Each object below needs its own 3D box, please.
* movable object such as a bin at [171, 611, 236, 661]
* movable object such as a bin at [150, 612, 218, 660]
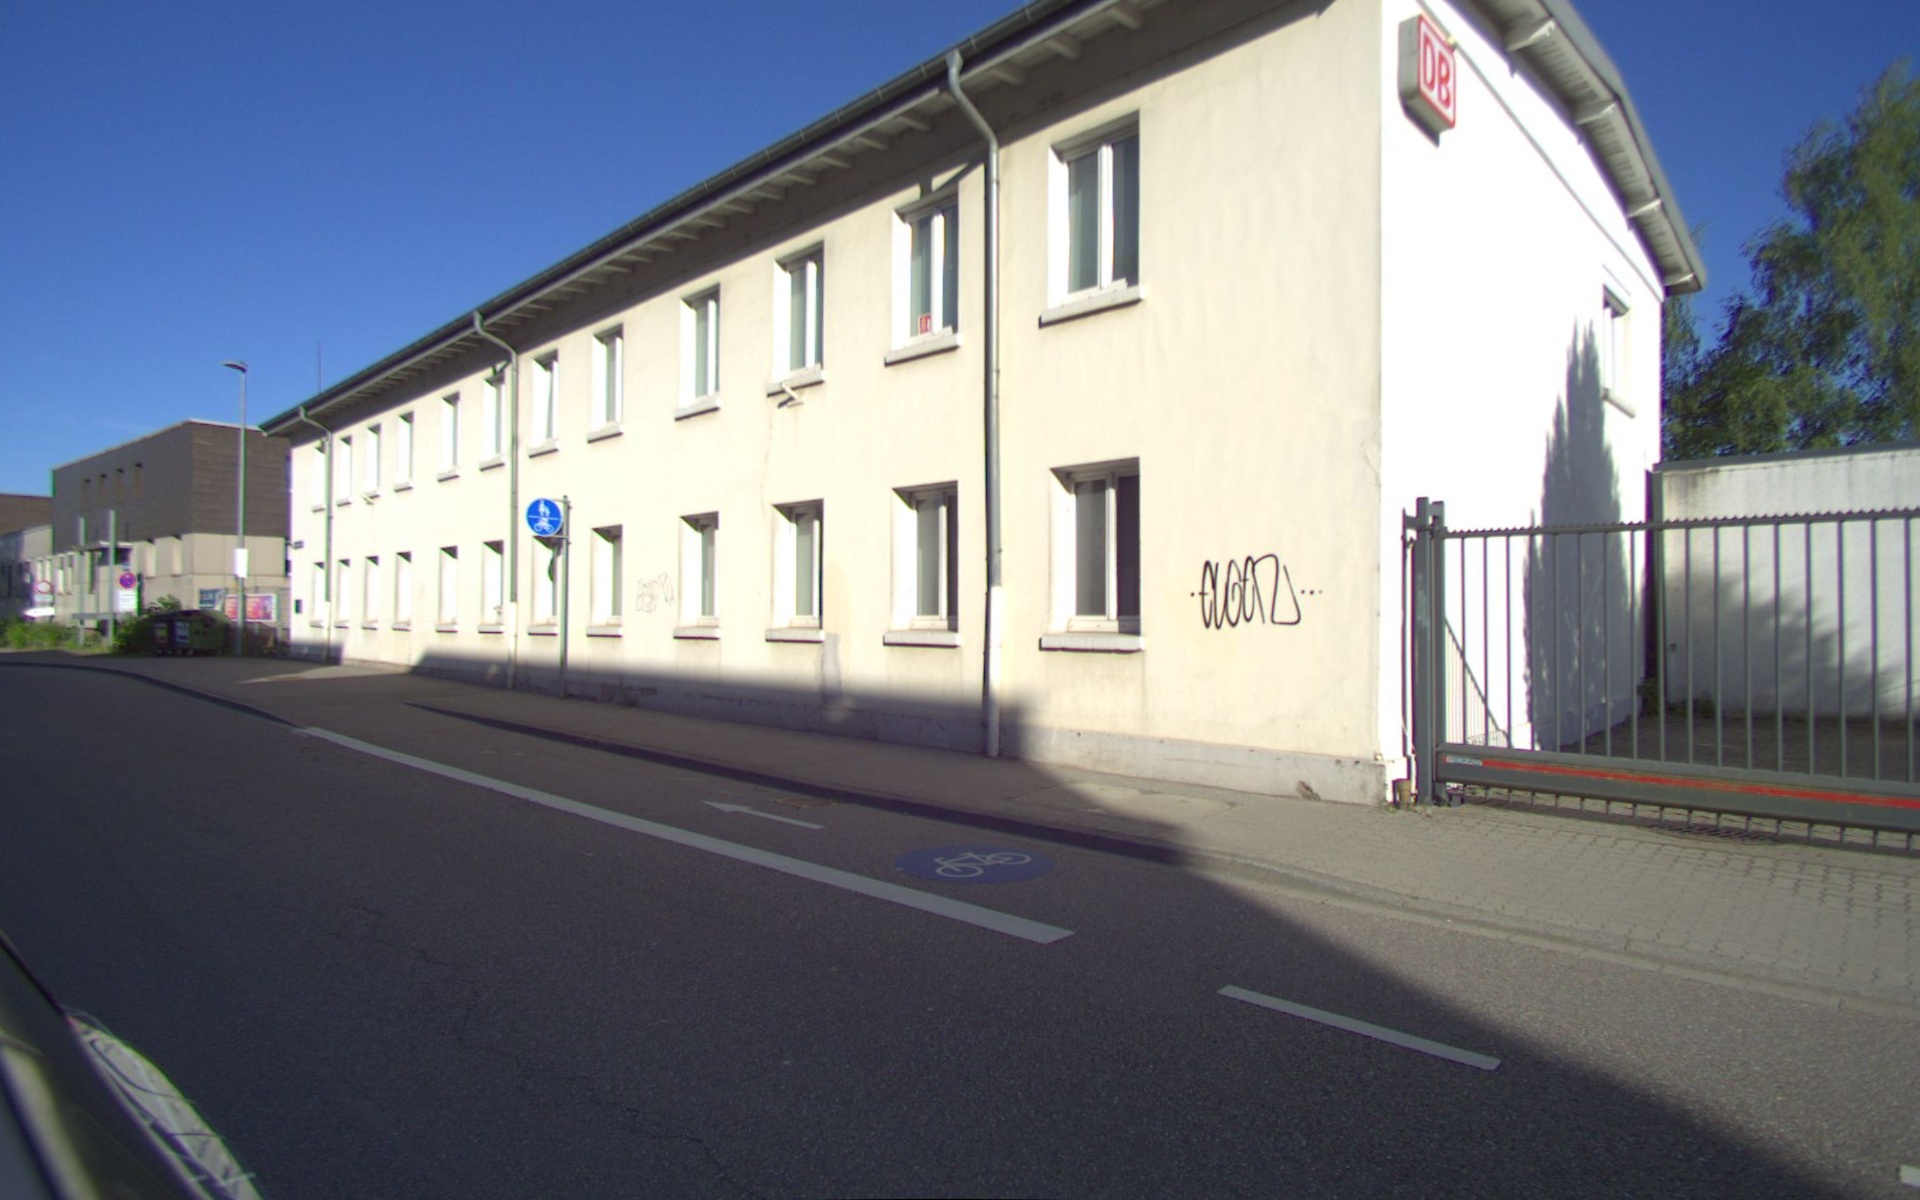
[{"bbox_3d":[-23.271,1.093,31.130,1.368,1.482,1.189,-1,-1,32],"label":"movable object such as a bin"},{"bbox_3d":[-24.435,1.110,31.874,1.285,1.482,1.350,-1,-1,32],"label":"movable object such as a bin"}]
